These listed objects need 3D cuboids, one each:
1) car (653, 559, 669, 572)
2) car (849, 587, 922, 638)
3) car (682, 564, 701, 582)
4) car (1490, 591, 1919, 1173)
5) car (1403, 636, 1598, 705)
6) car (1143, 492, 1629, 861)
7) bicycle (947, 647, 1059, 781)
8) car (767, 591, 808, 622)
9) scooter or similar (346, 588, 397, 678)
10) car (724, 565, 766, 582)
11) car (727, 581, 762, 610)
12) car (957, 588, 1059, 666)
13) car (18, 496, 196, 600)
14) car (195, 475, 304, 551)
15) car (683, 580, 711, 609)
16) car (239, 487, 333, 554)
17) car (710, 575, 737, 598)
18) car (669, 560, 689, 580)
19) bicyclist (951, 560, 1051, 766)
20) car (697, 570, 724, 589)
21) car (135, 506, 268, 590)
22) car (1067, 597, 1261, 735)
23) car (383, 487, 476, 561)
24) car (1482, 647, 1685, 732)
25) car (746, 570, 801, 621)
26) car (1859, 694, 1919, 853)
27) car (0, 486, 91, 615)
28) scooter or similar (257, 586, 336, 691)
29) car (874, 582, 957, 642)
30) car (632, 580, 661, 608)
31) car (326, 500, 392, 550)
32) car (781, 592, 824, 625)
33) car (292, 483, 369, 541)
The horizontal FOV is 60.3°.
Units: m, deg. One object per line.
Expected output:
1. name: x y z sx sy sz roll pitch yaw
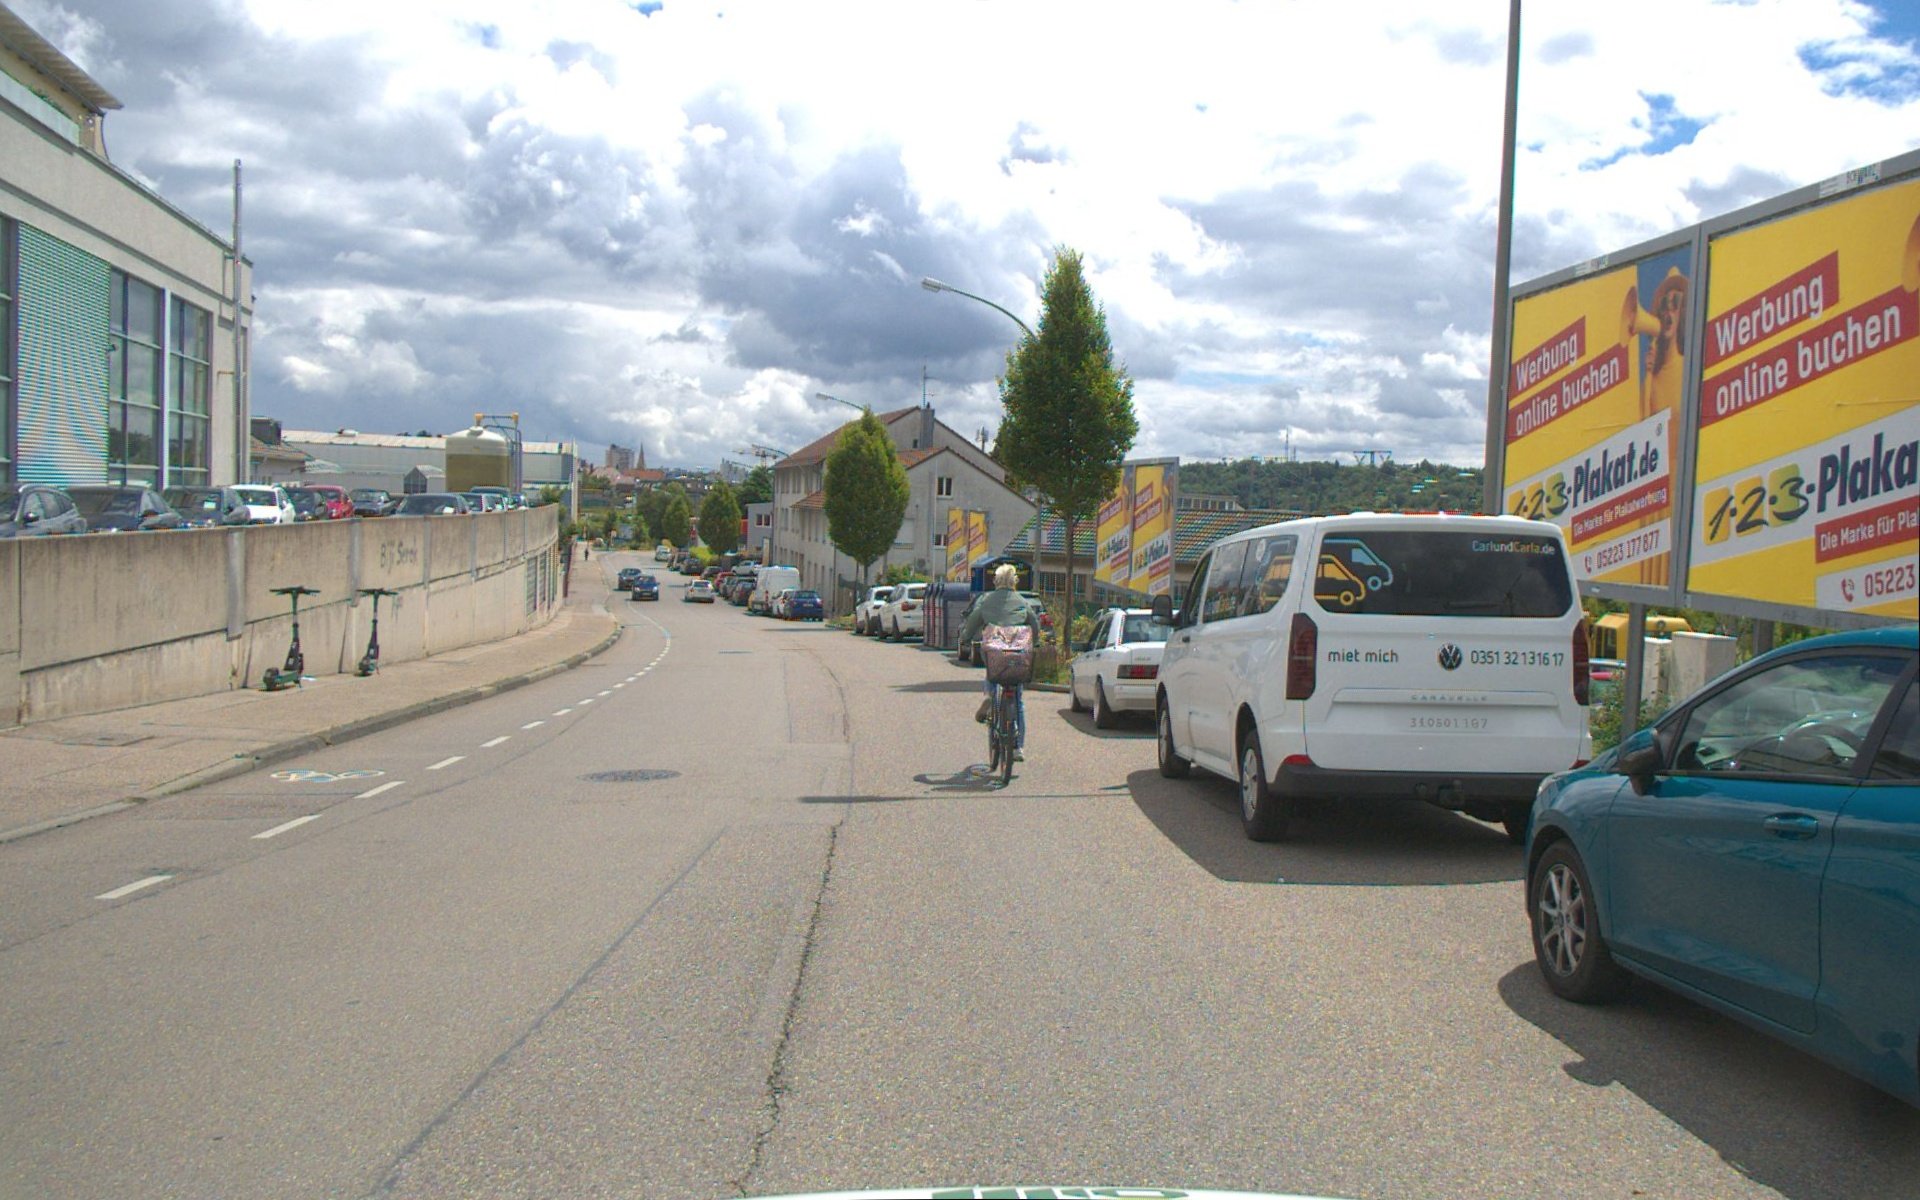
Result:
1. car: -40.449 -4.702 223.613 1.674 1.554 3.722 4 1 -17
2. car: -2.509 0.392 54.987 1.809 1.592 4.454 0 0 -11
3. car: -27.000 -2.746 166.268 1.649 1.666 4.112 1 1 -11
4. car: 3.184 0.733 5.158 1.561 1.476 3.976 1 0 -4
5. car: 13.655 1.768 42.002 4.352 1.582 2.001 1 0 6
6. car: 2.717 0.422 12.102 1.935 2.039 5.545 1 0 -2
7. bicycle: 0.328 0.913 13.752 0.725 0.992 1.730 1 0 -5
8. car: -8.951 0.309 85.569 1.566 1.536 3.776 1 0 -14
9. scooter or similar: -8.906 0.488 25.059 0.510 1.298 1.378 3 -1 -14
10. car: -20.983 -2.586 161.196 3.997 1.488 1.717 1 3 39
11. car: -13.999 -0.300 107.302 1.676 1.536 5.070 3 2 -14
12. car: 0.947 0.523 34.581 1.623 1.511 4.040 0 0 -6
13. car: -15.000 -0.868 29.311 1.775 1.665 4.099 1 0 -13
14. car: -17.944 -2.149 41.951 1.775 1.665 4.099 1 0 -13
15. car: -17.156 -0.356 107.820 1.540 1.817 3.593 1 0 -13
16. car: -19.001 -2.194 46.808 1.775 1.665 4.099 1 0 -13
17. car: -17.839 -1.047 124.683 1.705 1.498 4.249 2 2 -13
18. car: -30.741 -3.320 180.732 1.837 2.025 5.127 1 1 -13
19. bicyclist: 0.334 0.511 13.745 0.725 1.655 0.731 1 0 -5
20. car: -21.202 -1.744 140.338 1.761 1.491 4.691 1 1 -14
21. car: -16.427 -1.076 36.024 1.775 1.665 4.099 1 0 -13
22. car: 2.308 0.702 19.683 1.604 1.411 4.203 1 0 -2
23. car: -13.495 -1.887 42.285 1.774 1.665 4.093 1 0 -12
24. car: 13.135 1.852 34.888 3.906 1.567 1.787 1 0 23
25. car: -10.360 -0.262 91.442 1.999 2.687 7.256 1 0 -14
26. car: 12.328 1.934 18.171 3.902 1.626 1.794 1 0 6
27. car: -13.661 -0.659 22.981 1.775 1.665 4.099 1 0 -13
28. scooter or similar: -8.524 0.485 21.292 0.546 1.298 1.304 1 0 -4
29. car: -1.366 0.340 49.095 1.656 1.688 4.466 1 0 -12
30. car: -20.630 -0.401 108.732 1.599 1.849 3.765 0 0 -15
31. car: -22.599 -2.788 62.313 1.775 1.665 4.099 1 0 -13
32. car: -7.711 0.381 80.714 1.540 1.536 4.080 1 0 -13
33. car: -20.946 -2.902 55.158 1.775 1.665 4.099 1 0 -13
